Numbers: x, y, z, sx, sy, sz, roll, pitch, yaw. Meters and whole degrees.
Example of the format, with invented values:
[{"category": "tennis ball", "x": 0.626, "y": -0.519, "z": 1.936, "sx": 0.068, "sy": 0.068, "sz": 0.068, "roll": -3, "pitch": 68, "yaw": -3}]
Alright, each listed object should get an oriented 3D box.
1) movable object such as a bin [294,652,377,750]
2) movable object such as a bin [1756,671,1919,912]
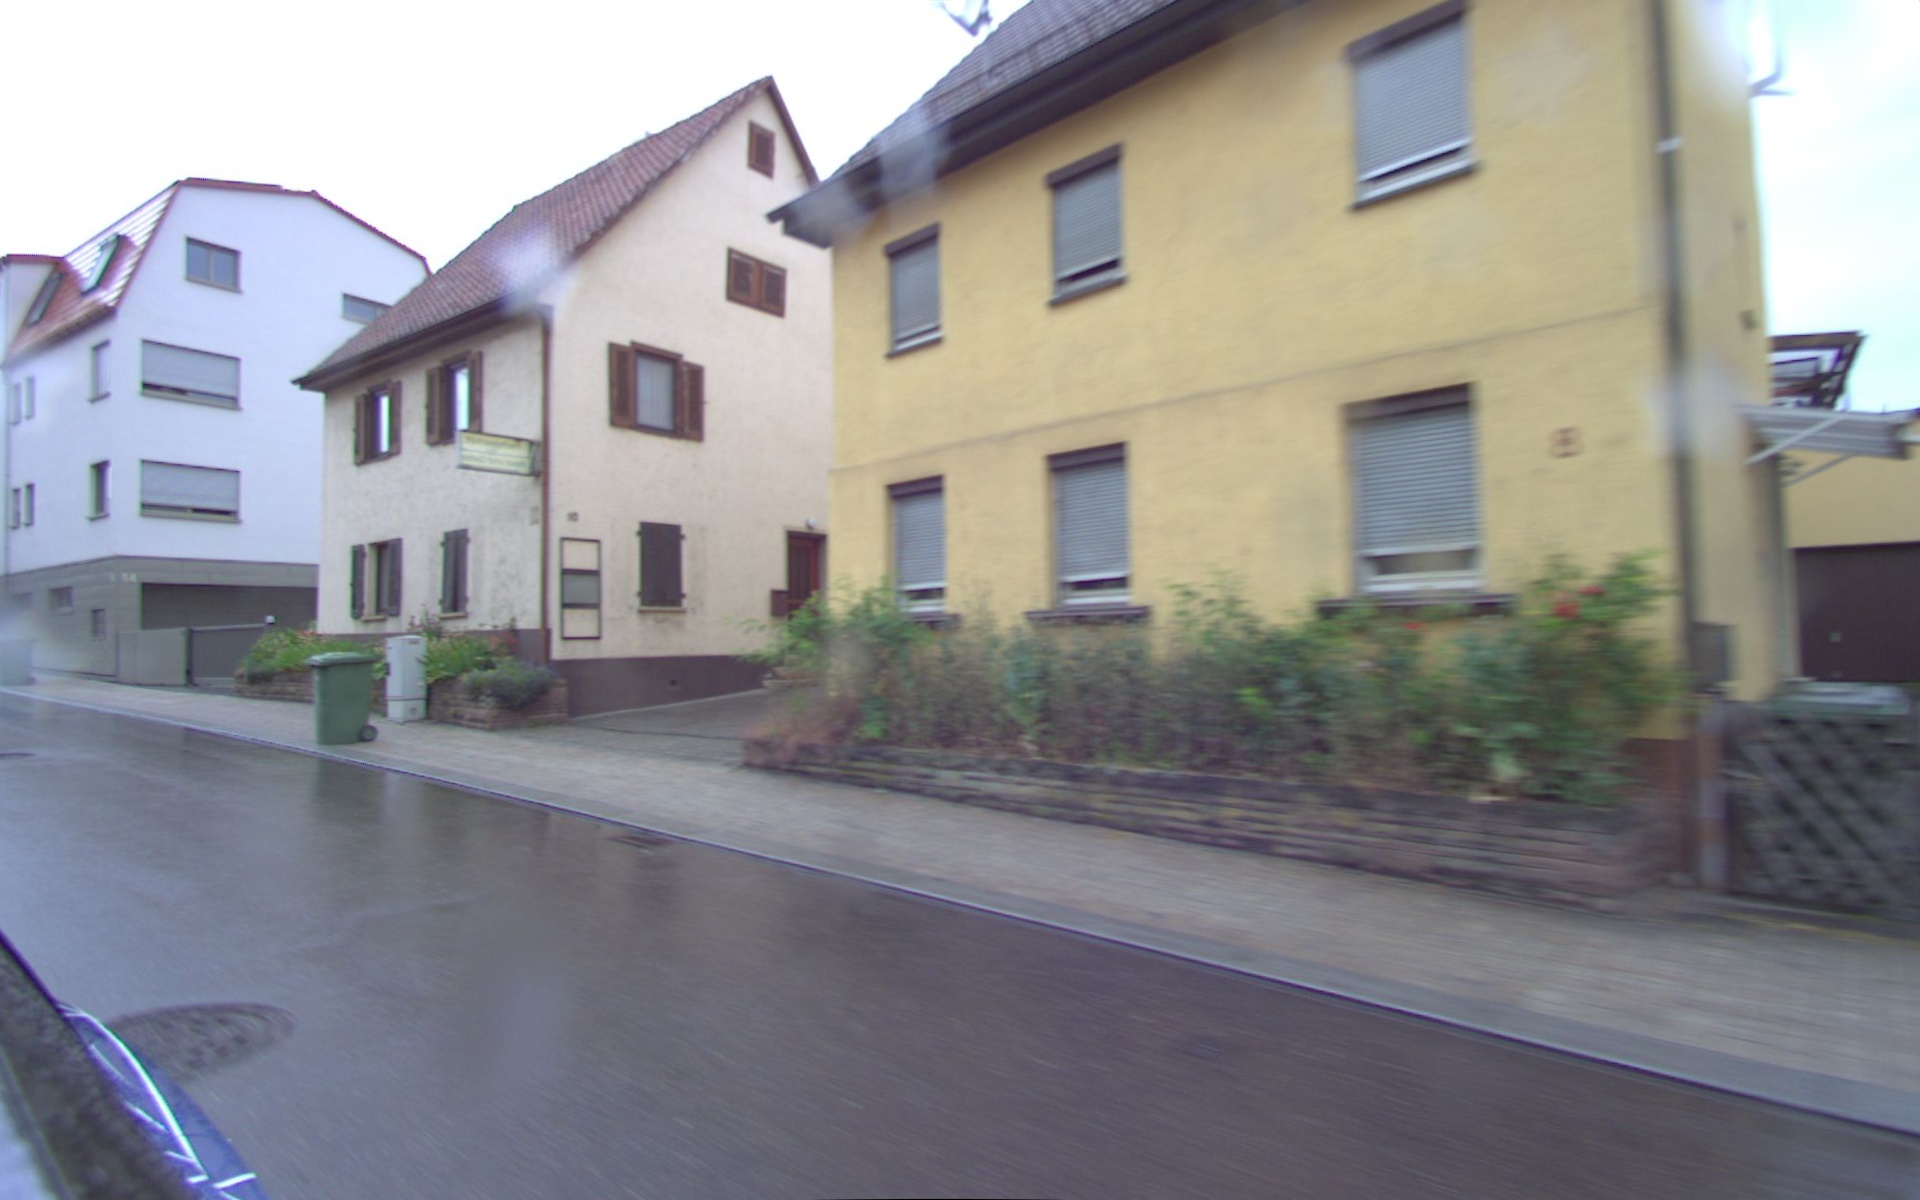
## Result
[{"category": "movable object such as a bin", "x": -7.409, "y": 1.173, "z": 12.007, "sx": 0.575, "sy": 1.067, "sz": 0.705, "roll": 0, "pitch": 0, "yaw": 41}, {"category": "movable object such as a bin", "x": 4.653, "y": 0.948, "z": 5.255, "sx": 0.649, "sy": 1.117, "sz": 0.722, "roll": 5, "pitch": -4, "yaw": -42}]
